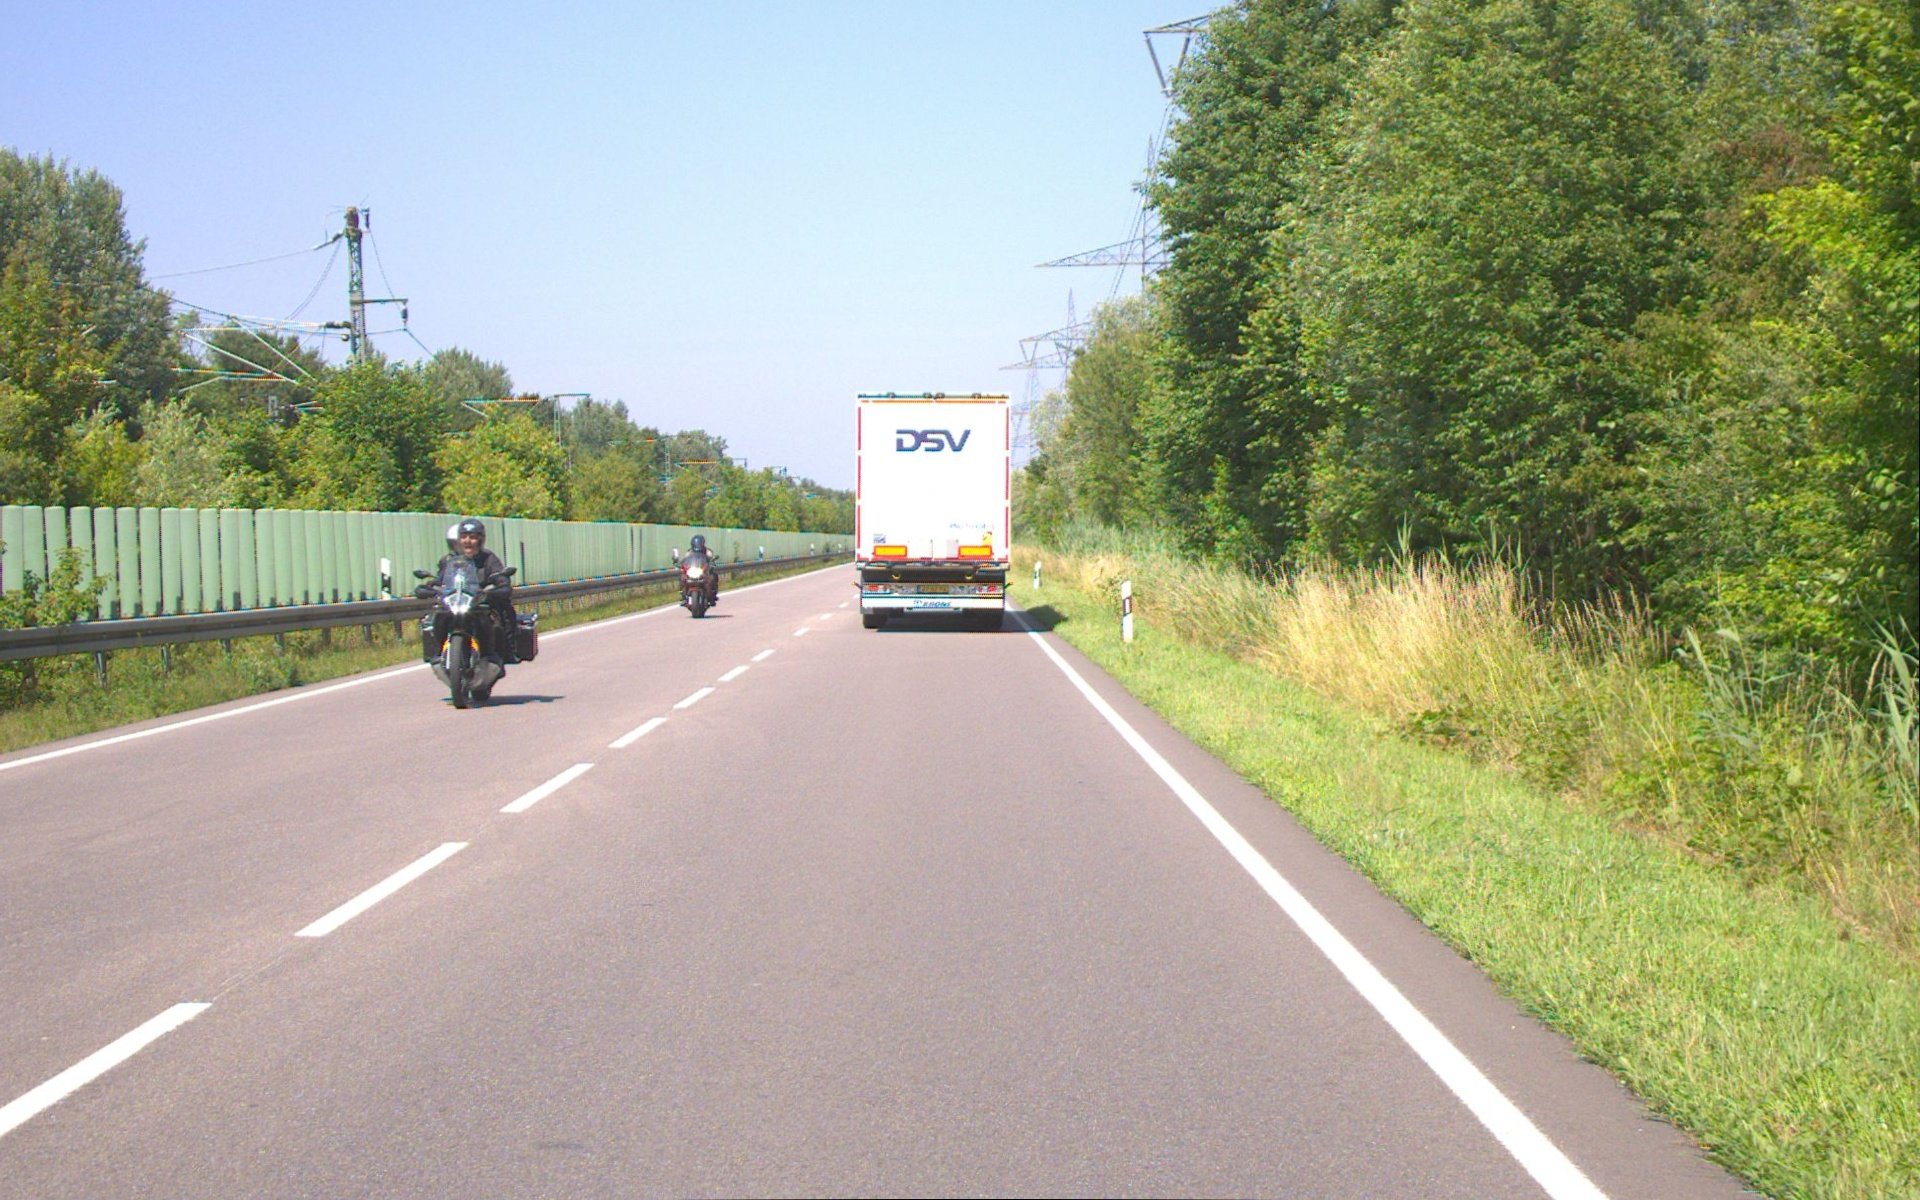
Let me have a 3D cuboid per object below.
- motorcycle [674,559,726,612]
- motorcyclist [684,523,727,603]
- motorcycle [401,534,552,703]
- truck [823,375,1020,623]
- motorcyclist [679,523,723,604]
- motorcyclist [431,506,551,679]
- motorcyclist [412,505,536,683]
[{"bbox_3d":[-5.146,-0.292,68.294,0.754,1.010,2.721,1,1,1],"label":"motorcycle"},{"bbox_3d":[-5.118,-0.747,69.178,0.749,1.577,0.863,1,1,1],"label":"motorcyclist"},{"bbox_3d":[-4.481,0.148,32.073,0.968,1.491,2.630,1,1,1],"label":"motorcycle"},{"bbox_3d":[-0.697,-1.765,62.220,3.192,4.029,12.007,0,1,-1],"label":"truck"},{"bbox_3d":[-5.136,-0.724,68.217,0.758,1.577,1.003,1,1,1],"label":"motorcyclist"},{"bbox_3d":[-4.462,-0.078,32.772,0.959,1.604,1.003,1,1,1],"label":"motorcyclist"},{"bbox_3d":[-4.483,-0.060,31.762,0.959,1.604,1.003,1,1,1],"label":"motorcyclist"}]
